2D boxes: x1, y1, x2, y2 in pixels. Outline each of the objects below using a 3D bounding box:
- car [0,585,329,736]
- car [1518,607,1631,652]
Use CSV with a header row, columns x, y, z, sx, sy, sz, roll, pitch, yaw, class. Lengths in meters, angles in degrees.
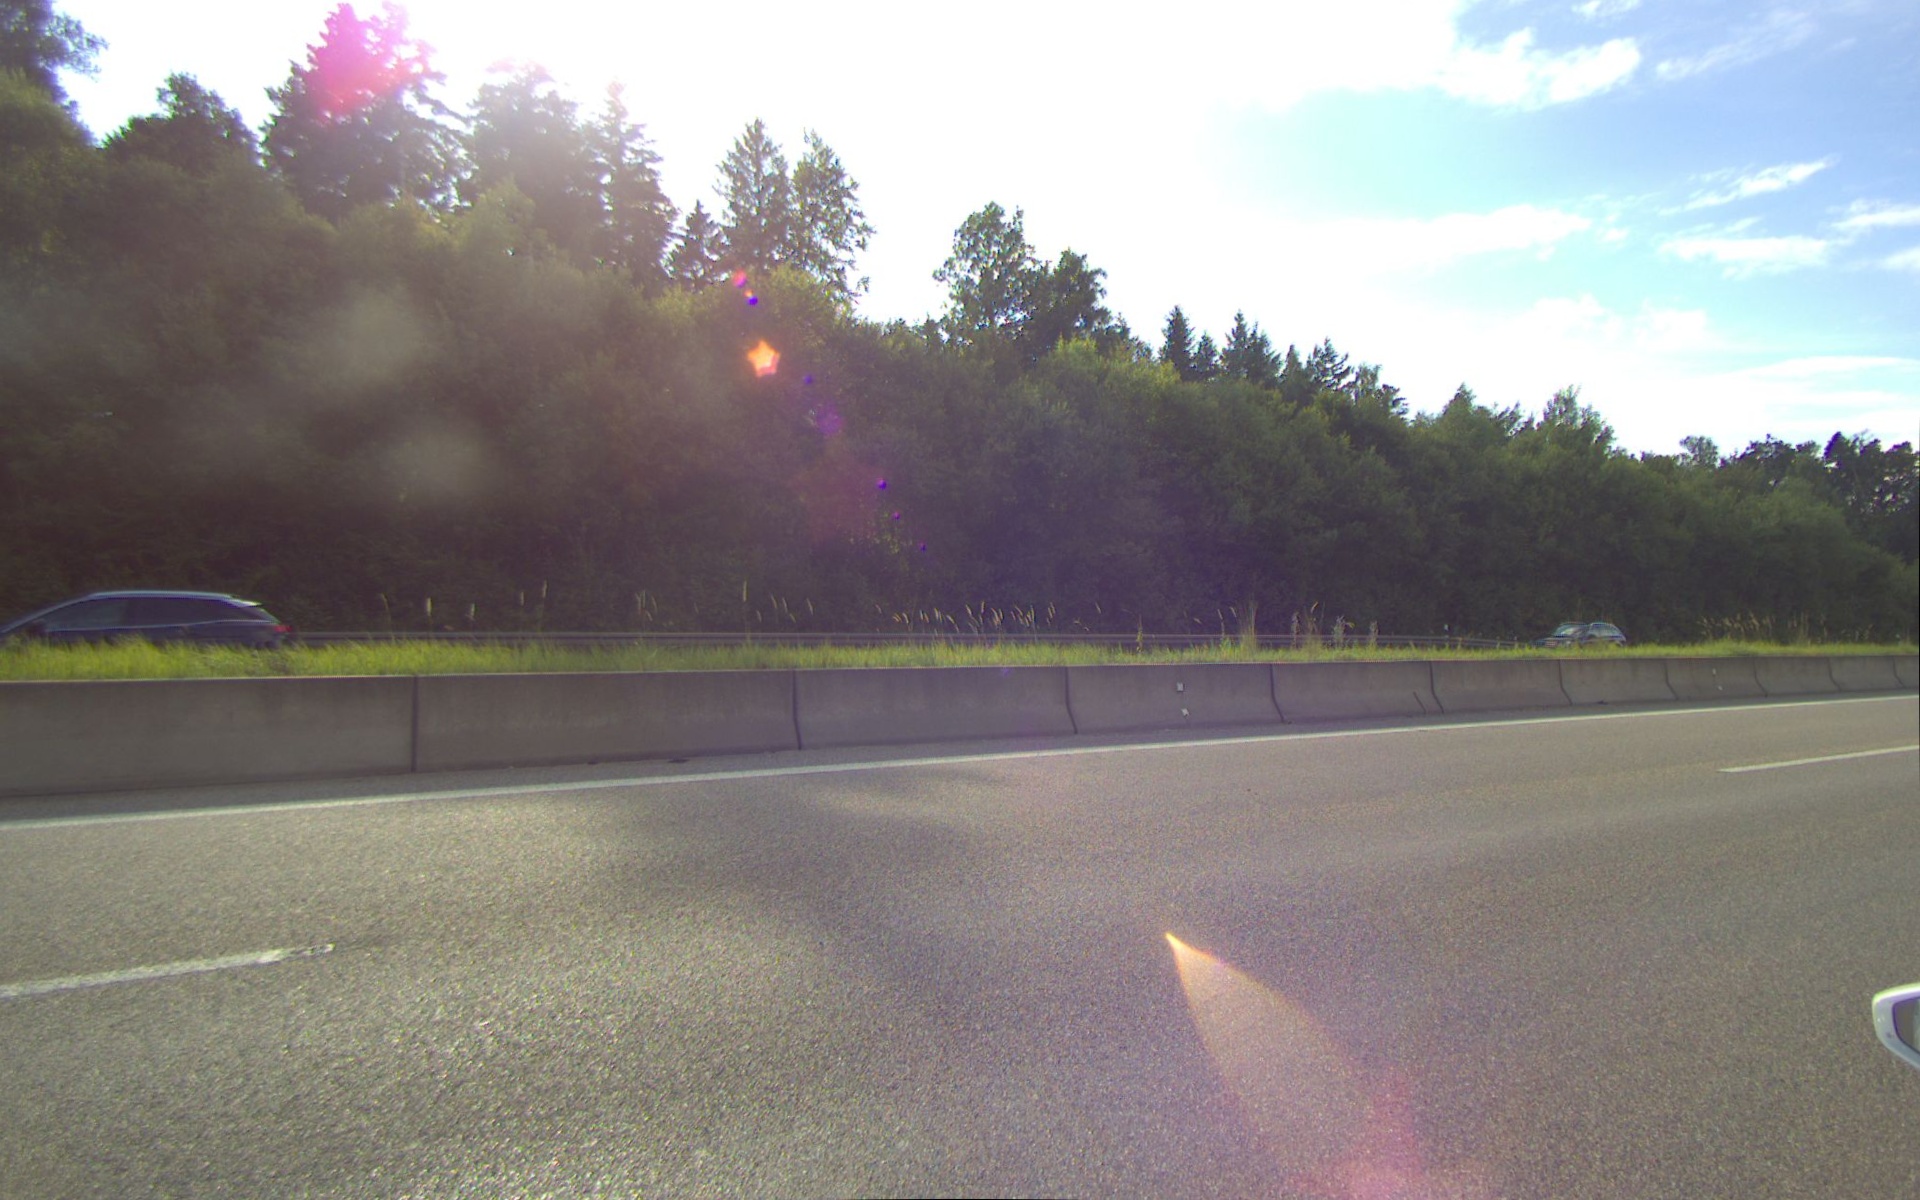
x,y,z,sx,sy,sz,roll,pitch,yaw,class
-11.609,0.792,14.232,4.386,1.906,1.984,1,0,-30,car
24.082,1.155,39.346,4.516,1.649,1.871,1,-1,-30,car
